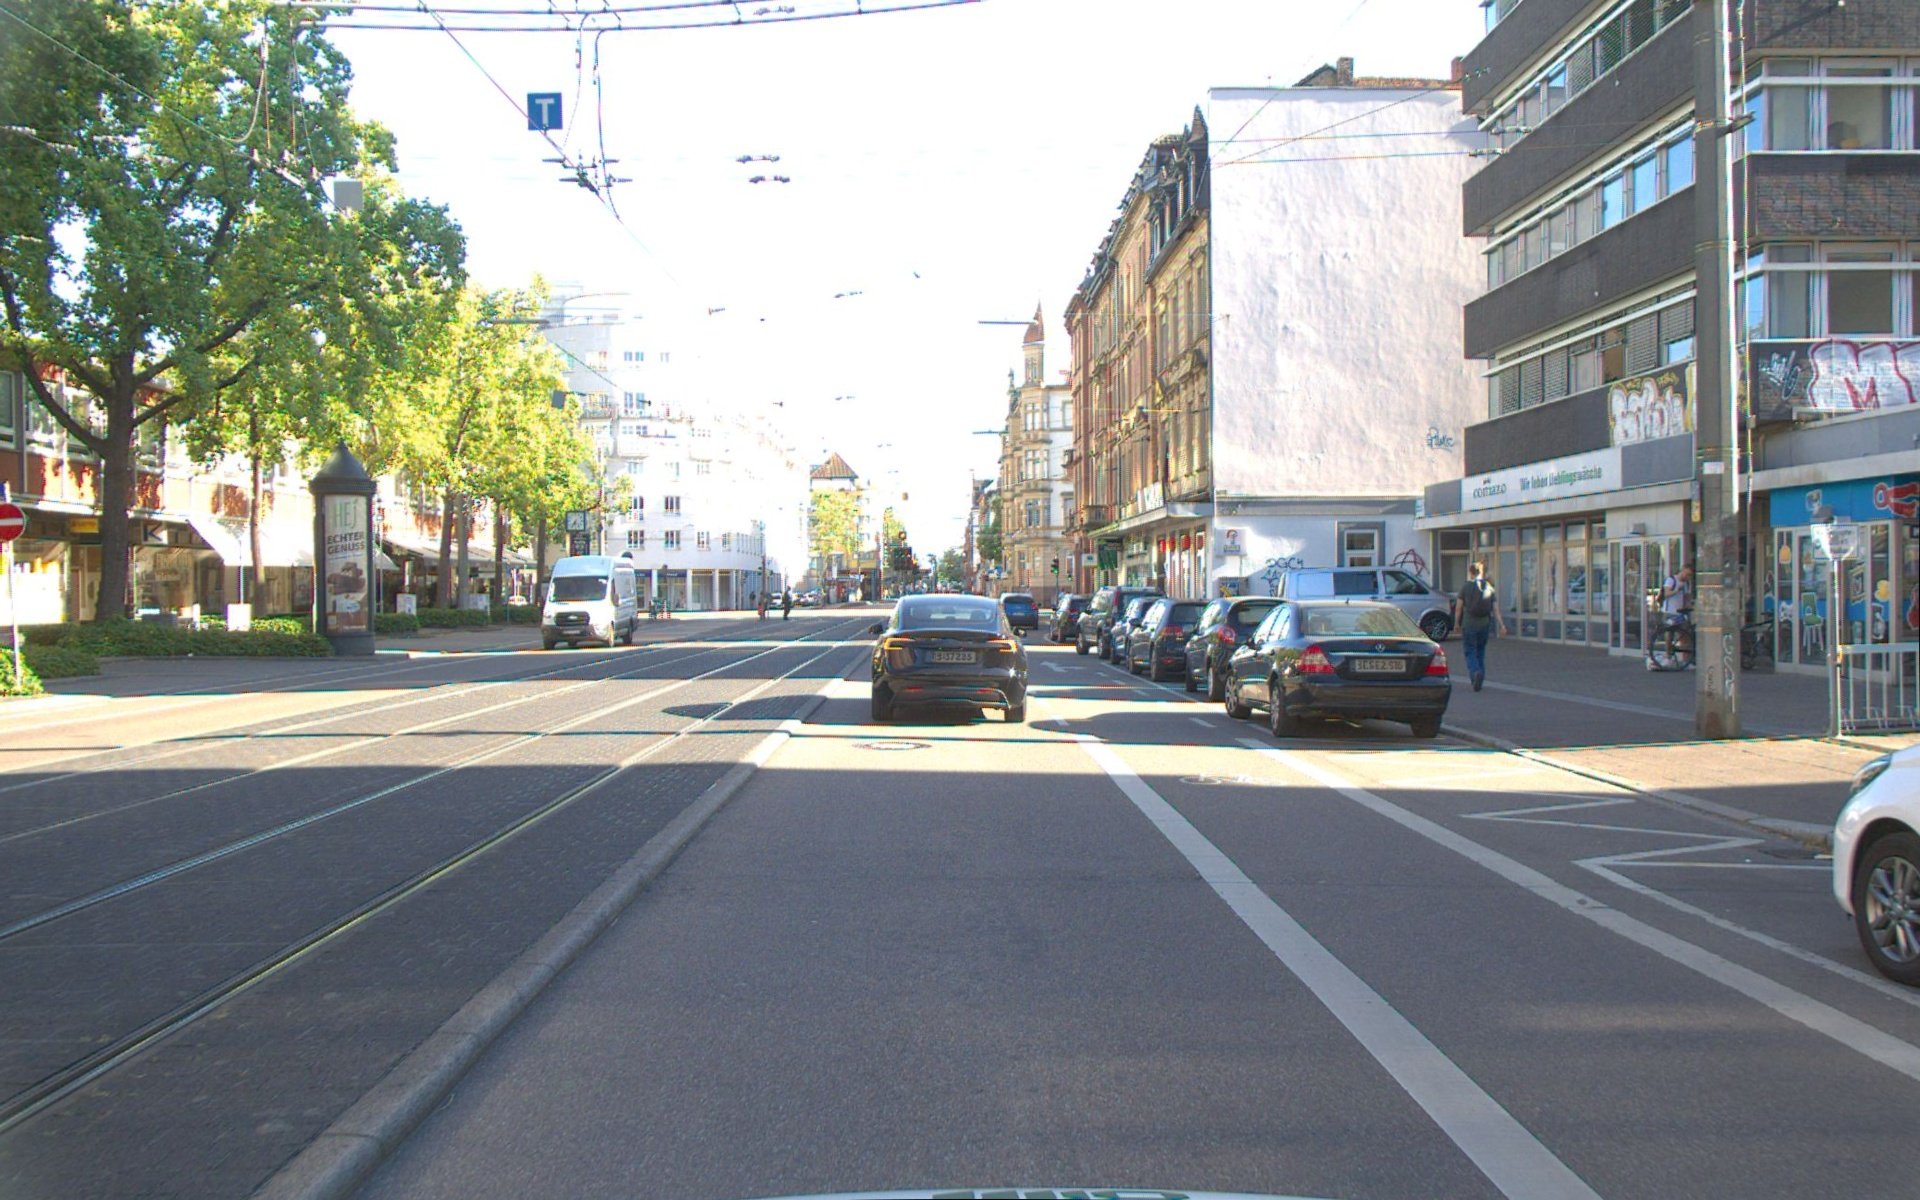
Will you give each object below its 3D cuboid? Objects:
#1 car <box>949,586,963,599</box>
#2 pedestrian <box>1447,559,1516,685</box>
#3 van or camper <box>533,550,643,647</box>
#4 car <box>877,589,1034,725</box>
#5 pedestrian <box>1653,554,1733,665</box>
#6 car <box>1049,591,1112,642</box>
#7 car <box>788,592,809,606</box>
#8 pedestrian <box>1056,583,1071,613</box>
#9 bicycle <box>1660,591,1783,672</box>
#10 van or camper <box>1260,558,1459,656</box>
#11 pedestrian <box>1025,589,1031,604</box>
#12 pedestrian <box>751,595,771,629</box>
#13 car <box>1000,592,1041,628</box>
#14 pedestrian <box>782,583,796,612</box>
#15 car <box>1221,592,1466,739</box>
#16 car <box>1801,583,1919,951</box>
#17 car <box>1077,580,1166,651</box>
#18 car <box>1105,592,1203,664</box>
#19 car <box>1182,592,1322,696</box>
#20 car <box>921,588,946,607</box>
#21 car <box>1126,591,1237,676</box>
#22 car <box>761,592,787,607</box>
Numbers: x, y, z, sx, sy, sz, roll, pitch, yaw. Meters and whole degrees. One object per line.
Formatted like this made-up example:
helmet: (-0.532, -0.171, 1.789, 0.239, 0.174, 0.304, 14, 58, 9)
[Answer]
car: (-0.533, -0.974, 220.115, 1.808, 1.620, 4.000, -1, 0, 0)
pedestrian: (7.770, 0.320, 24.677, 0.707, 1.843, 0.889, -1, 0, -1)
van or camper: (-11.144, -0.045, 50.044, 2.097, 2.700, 6.876, -1, 0, -3)
car: (-0.111, 0.606, 19.838, 1.685, 1.430, 3.709, 1, 1, -2)
pedestrian: (12.012, 0.150, 27.128, 1.130, 1.758, 1.043, -1, 1, 24)
car: (3.729, 0.483, 51.599, 1.680, 1.498, 3.719, -1, 0, 0)
car: (-17.205, -0.101, 176.231, 1.953, 1.521, 3.999, -1, 0, -1)
pedestrian: (5.668, -0.102, 90.824, 0.734, 1.645, 0.705, -1, 0, -3)
bicycle: (12.143, 0.483, 26.347, 2.155, 1.240, 0.795, -1, 0, -34)
van or camper: (10.146, 0.170, 42.249, 4.547, 2.173, 1.988, -3, 0, 3)
pedestrian: (5.462, -0.286, 133.216, 0.432, 1.242, 0.389, -1, 0, -2)
pedestrian: (-10.221, 0.603, 84.777, 0.826, 1.725, 0.797, 1, 0, 6)
car: (2.519, 0.413, 69.390, 1.561, 1.458, 3.686, -1, 0, 0)
pedestrian: (-9.061, -0.130, 87.649, 0.687, 1.528, 0.795, 0, 0, 0)
car: (4.242, 0.661, 19.014, 1.676, 1.482, 4.549, 1, 0, -1)
car: (4.697, 0.689, 5.549, 1.570, 1.468, 3.882, 2, 0, -4)
car: (3.934, 0.393, 40.834, 1.792, 1.656, 4.095, 0, -1, 0)
car: (4.140, 0.585, 35.804, 1.547, 1.469, 3.912, 0, -1, -2)
car: (4.367, 0.636, 25.149, 1.546, 1.472, 3.309, 0, -1, 0)
car: (-2.312, -0.231, 143.379, 1.955, 1.552, 3.995, 1, -1, -5)
car: (4.018, 0.603, 30.513, 1.432, 1.457, 3.812, 0, -1, -2)
car: (-17.043, -0.048, 151.505, 1.953, 1.392, 3.999, -1, 0, -1)
